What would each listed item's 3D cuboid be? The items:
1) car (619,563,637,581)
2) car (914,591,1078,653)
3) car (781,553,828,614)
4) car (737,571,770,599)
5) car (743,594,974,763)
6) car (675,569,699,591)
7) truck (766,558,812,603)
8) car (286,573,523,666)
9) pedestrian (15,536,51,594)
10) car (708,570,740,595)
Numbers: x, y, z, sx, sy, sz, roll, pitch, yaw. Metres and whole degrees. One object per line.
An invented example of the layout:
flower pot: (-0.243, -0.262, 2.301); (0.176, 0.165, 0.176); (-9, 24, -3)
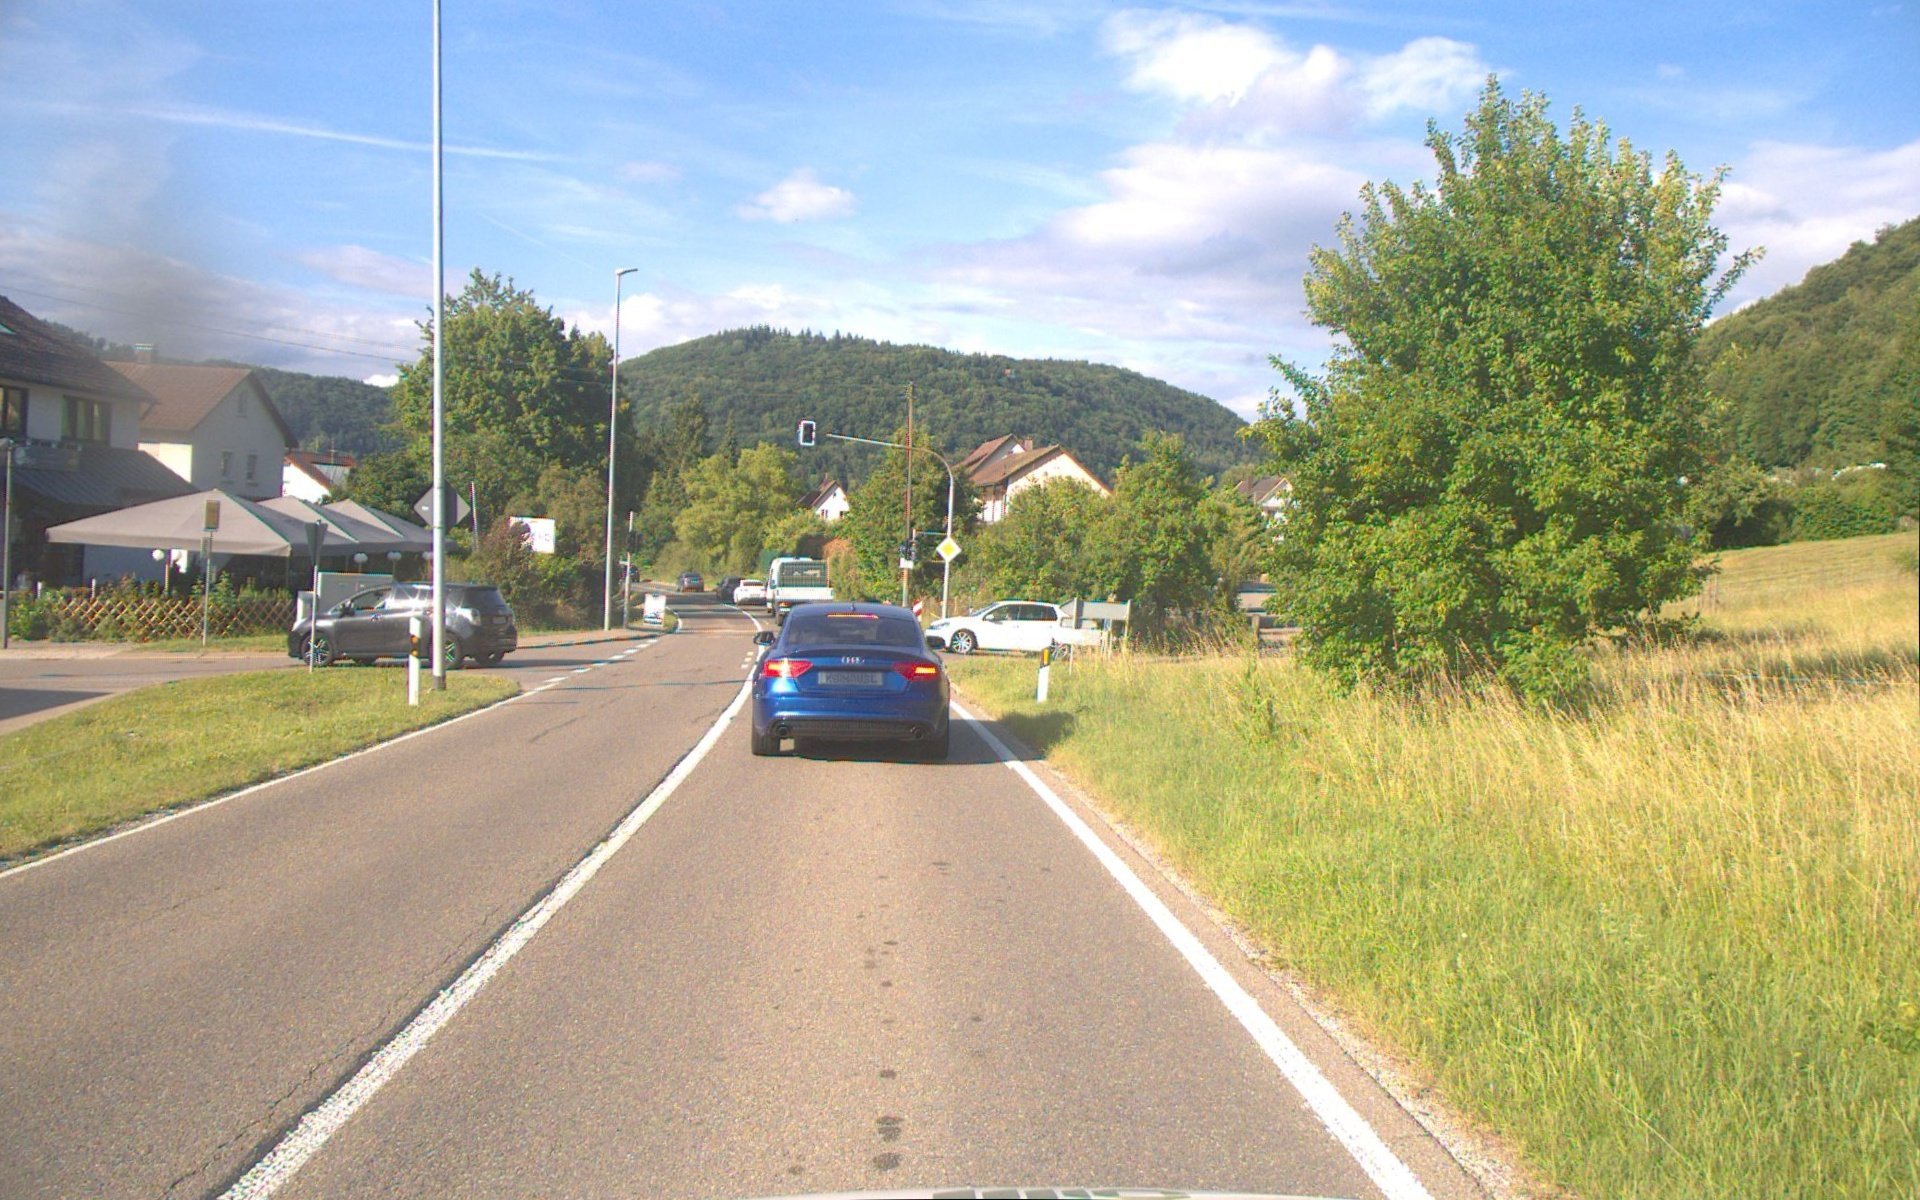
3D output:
car: (-32.058, -2.730, 159.603); (1.597, 1.604, 3.670); (1, -1, -11)
car: (0.936, 0.589, 43.636); (3.978, 1.534, 1.847); (1, -1, -16)
car: (-5.934, -0.602, 63.255); (1.712, 2.234, 3.995); (1, -1, -5)
car: (-11.743, -0.818, 93.926); (1.667, 1.516, 3.518); (1, -1, -10)
car: (-0.841, 0.677, 15.947); (1.758, 1.412, 4.001); (0, -1, 3)
car: (-20.813, -1.518, 126.062); (1.666, 1.516, 3.520); (1, -1, -8)
truck: (-7.978, -0.868, 76.814); (1.667, 1.988, 5.908); (1, 0, -10)
car: (-10.604, 0.369, 31.724); (3.902, 1.668, 1.753); (1, -1, 6)
pedestrian: (-25.111, -0.939, 44.823); (0.596, 1.529, 0.589); (1, -1, -1)
car: (-15.001, -1.100, 105.133); (1.669, 1.516, 3.514); (1, -1, -14)
